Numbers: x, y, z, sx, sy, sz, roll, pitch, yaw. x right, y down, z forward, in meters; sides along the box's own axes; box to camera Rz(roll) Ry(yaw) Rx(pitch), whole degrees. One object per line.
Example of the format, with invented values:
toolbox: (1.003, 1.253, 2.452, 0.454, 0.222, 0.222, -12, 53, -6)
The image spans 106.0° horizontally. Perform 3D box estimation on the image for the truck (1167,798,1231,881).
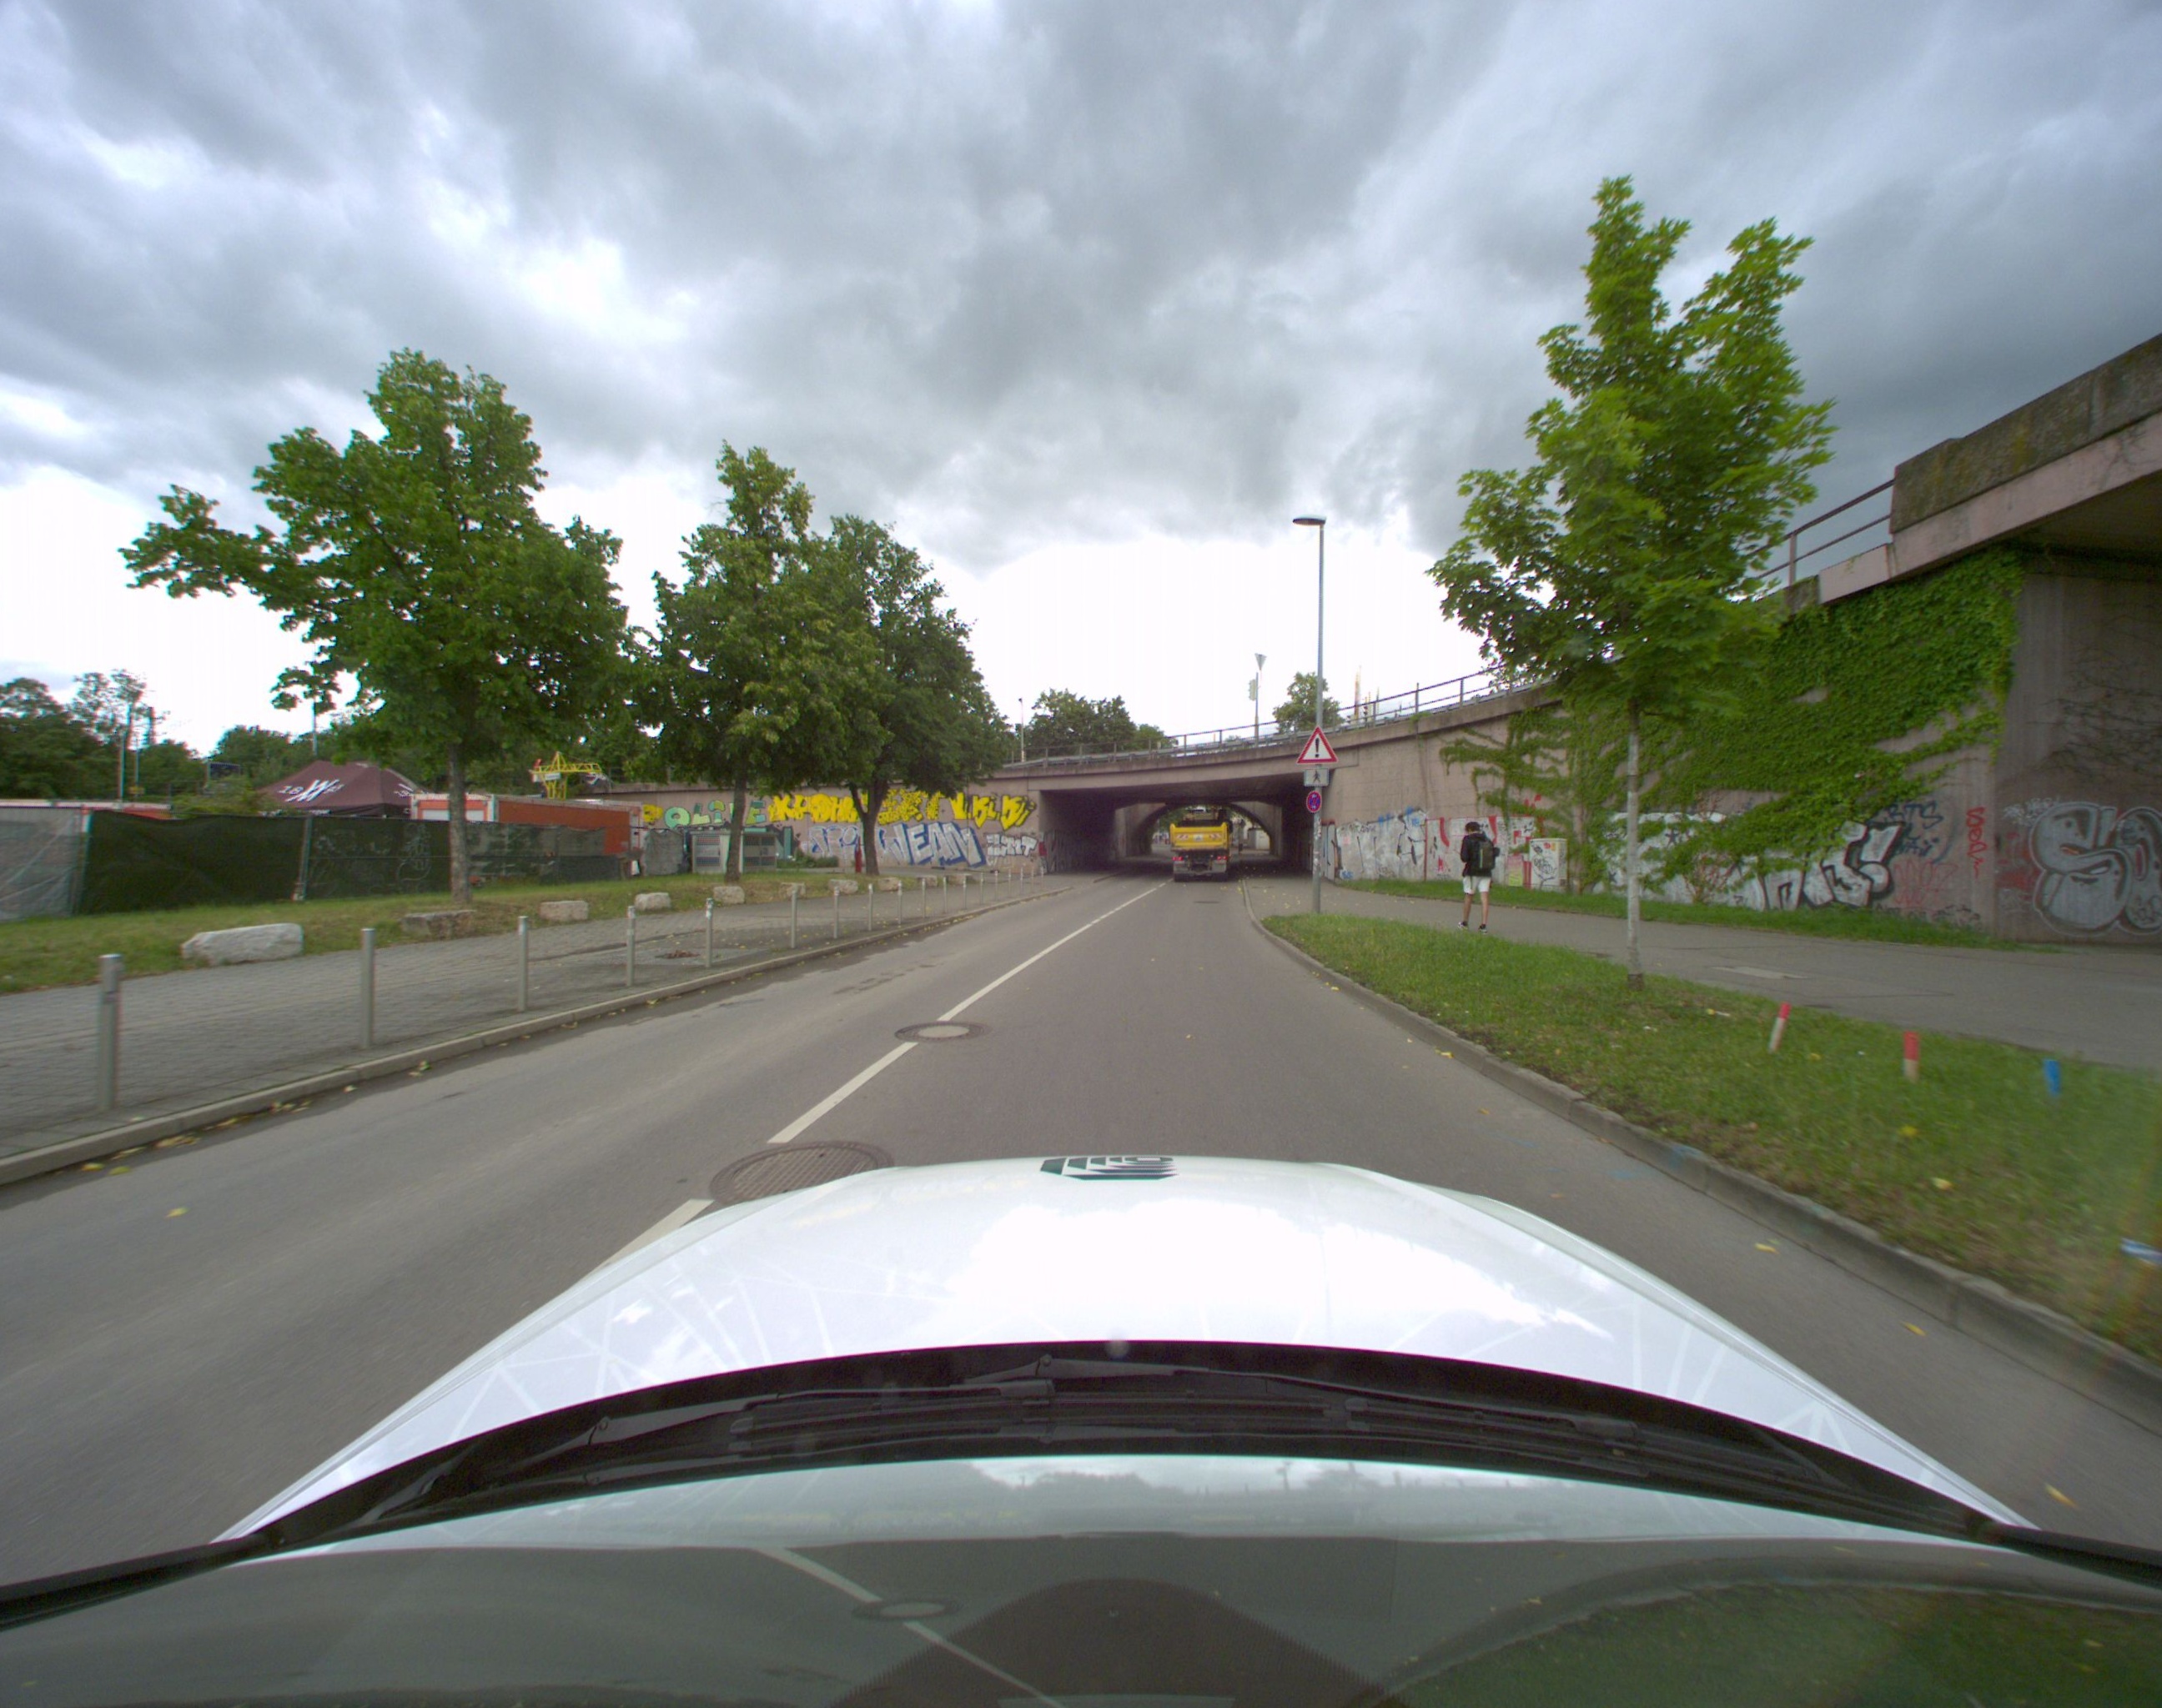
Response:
truck: (6.028, -0.607, 40.603, 2.741, 3.698, 7.903, 1, 0, 10)

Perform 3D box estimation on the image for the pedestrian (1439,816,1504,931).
pedestrian: (6.670, 0.321, 13.948, 0.732, 1.907, 0.825, 0, 0, 0)
